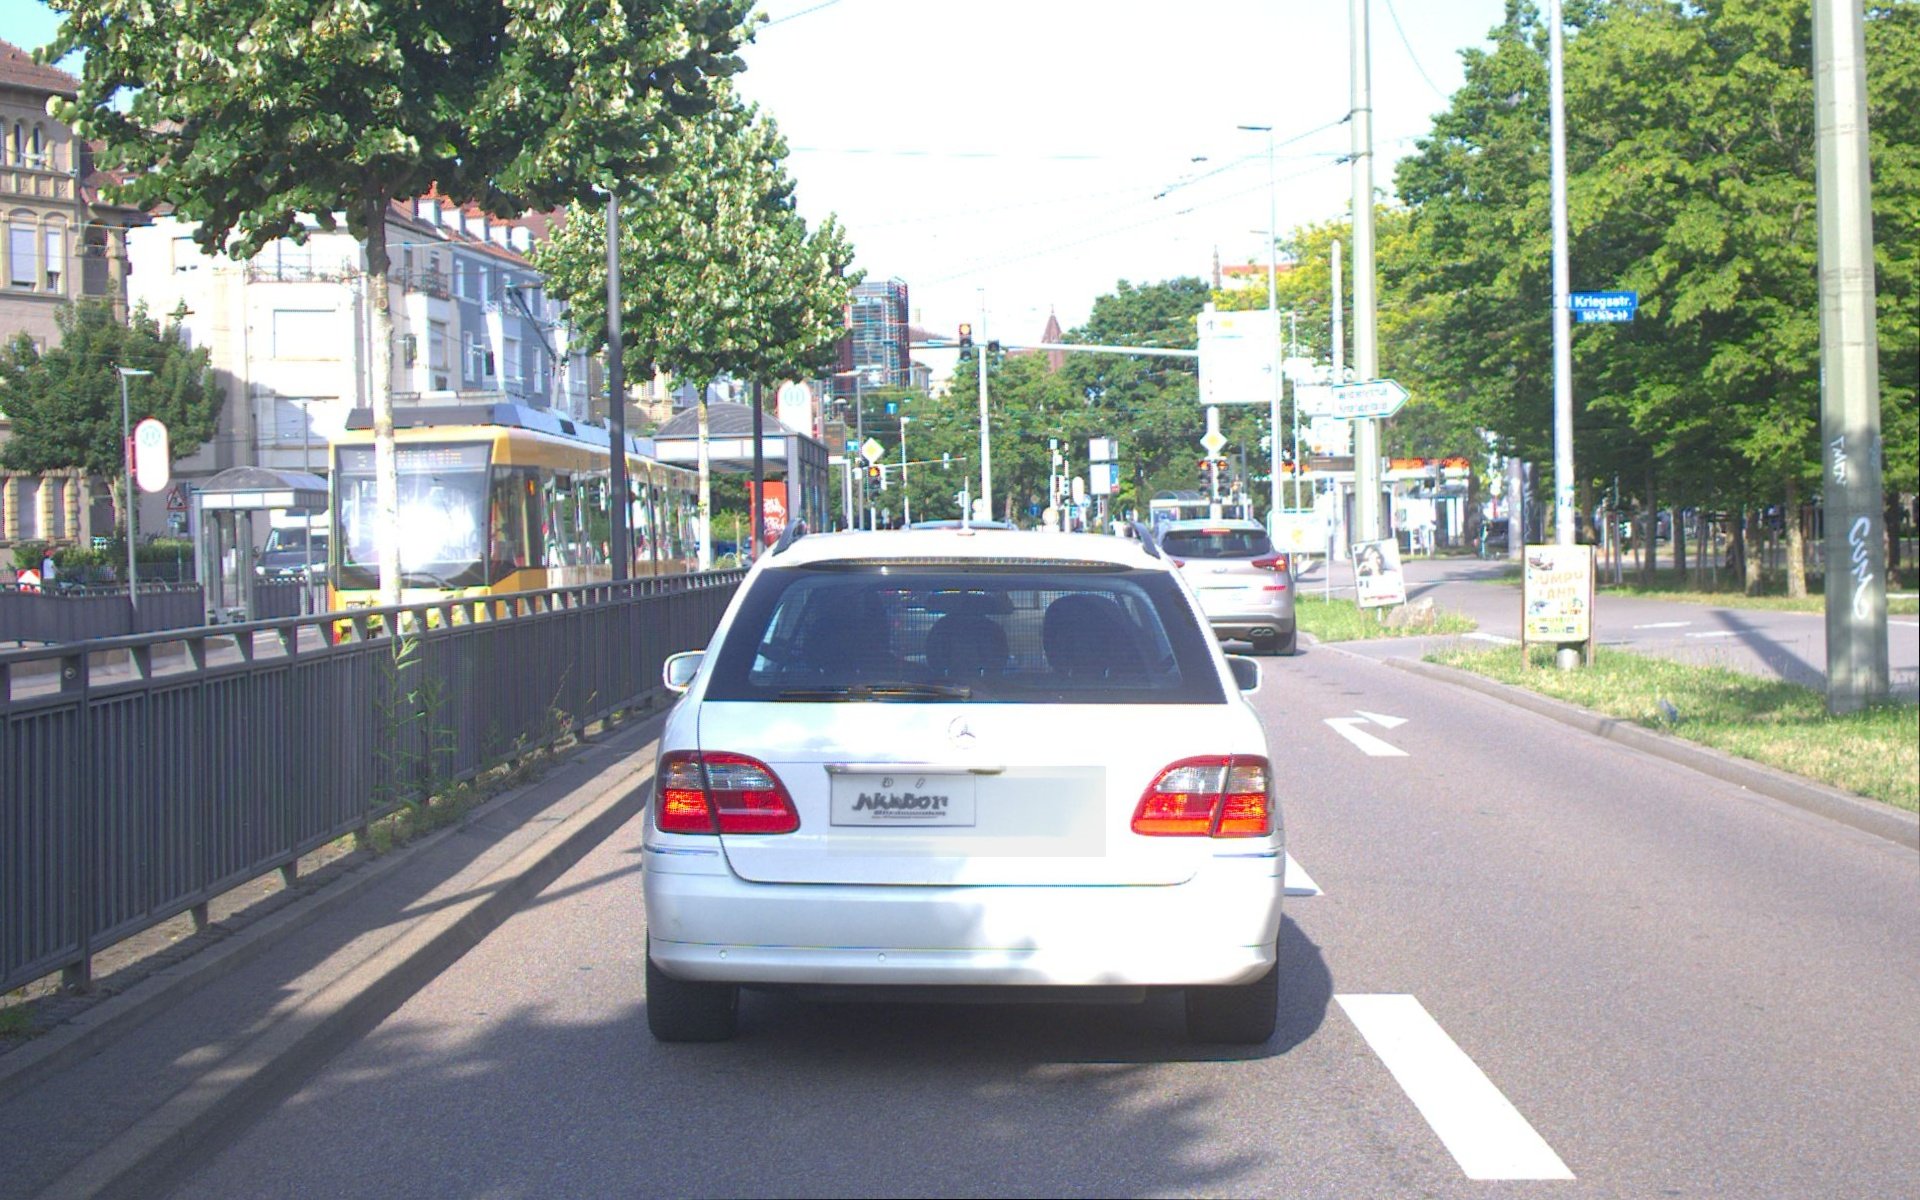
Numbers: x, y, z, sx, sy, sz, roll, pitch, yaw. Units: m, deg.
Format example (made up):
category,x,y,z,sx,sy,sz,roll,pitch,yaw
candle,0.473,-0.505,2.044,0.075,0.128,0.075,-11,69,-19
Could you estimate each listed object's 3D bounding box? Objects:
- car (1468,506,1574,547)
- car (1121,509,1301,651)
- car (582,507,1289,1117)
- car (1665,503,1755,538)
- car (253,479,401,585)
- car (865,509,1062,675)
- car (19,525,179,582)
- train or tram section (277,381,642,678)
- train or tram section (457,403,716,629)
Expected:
category,x,y,z,sx,sy,sz,roll,pitch,yaw
car,23.872,-3.123,146.213,3.992,1.645,1.997,-1,1,26
car,3.028,-0.280,41.194,2.033,1.600,4.000,-1,1,5
car,0.047,0.568,10.646,1.758,1.498,3.999,1,-1,3
car,37.839,-4.015,173.431,3.986,1.645,2.000,-2,1,-25
car,-17.104,-1.874,93.372,2.596,2.725,7.469,-1,1,0
car,0.098,-0.134,37.350,1.787,1.684,4.000,-1,1,5
car,-25.876,-1.410,103.470,2.206,1.622,4.711,0,2,24
train or tram section,-6.472,-1.018,46.845,2.849,3.467,13.200,0,2,1
train or tram section,-6.256,-1.471,59.910,2.849,3.467,13.200,-1,2,1
